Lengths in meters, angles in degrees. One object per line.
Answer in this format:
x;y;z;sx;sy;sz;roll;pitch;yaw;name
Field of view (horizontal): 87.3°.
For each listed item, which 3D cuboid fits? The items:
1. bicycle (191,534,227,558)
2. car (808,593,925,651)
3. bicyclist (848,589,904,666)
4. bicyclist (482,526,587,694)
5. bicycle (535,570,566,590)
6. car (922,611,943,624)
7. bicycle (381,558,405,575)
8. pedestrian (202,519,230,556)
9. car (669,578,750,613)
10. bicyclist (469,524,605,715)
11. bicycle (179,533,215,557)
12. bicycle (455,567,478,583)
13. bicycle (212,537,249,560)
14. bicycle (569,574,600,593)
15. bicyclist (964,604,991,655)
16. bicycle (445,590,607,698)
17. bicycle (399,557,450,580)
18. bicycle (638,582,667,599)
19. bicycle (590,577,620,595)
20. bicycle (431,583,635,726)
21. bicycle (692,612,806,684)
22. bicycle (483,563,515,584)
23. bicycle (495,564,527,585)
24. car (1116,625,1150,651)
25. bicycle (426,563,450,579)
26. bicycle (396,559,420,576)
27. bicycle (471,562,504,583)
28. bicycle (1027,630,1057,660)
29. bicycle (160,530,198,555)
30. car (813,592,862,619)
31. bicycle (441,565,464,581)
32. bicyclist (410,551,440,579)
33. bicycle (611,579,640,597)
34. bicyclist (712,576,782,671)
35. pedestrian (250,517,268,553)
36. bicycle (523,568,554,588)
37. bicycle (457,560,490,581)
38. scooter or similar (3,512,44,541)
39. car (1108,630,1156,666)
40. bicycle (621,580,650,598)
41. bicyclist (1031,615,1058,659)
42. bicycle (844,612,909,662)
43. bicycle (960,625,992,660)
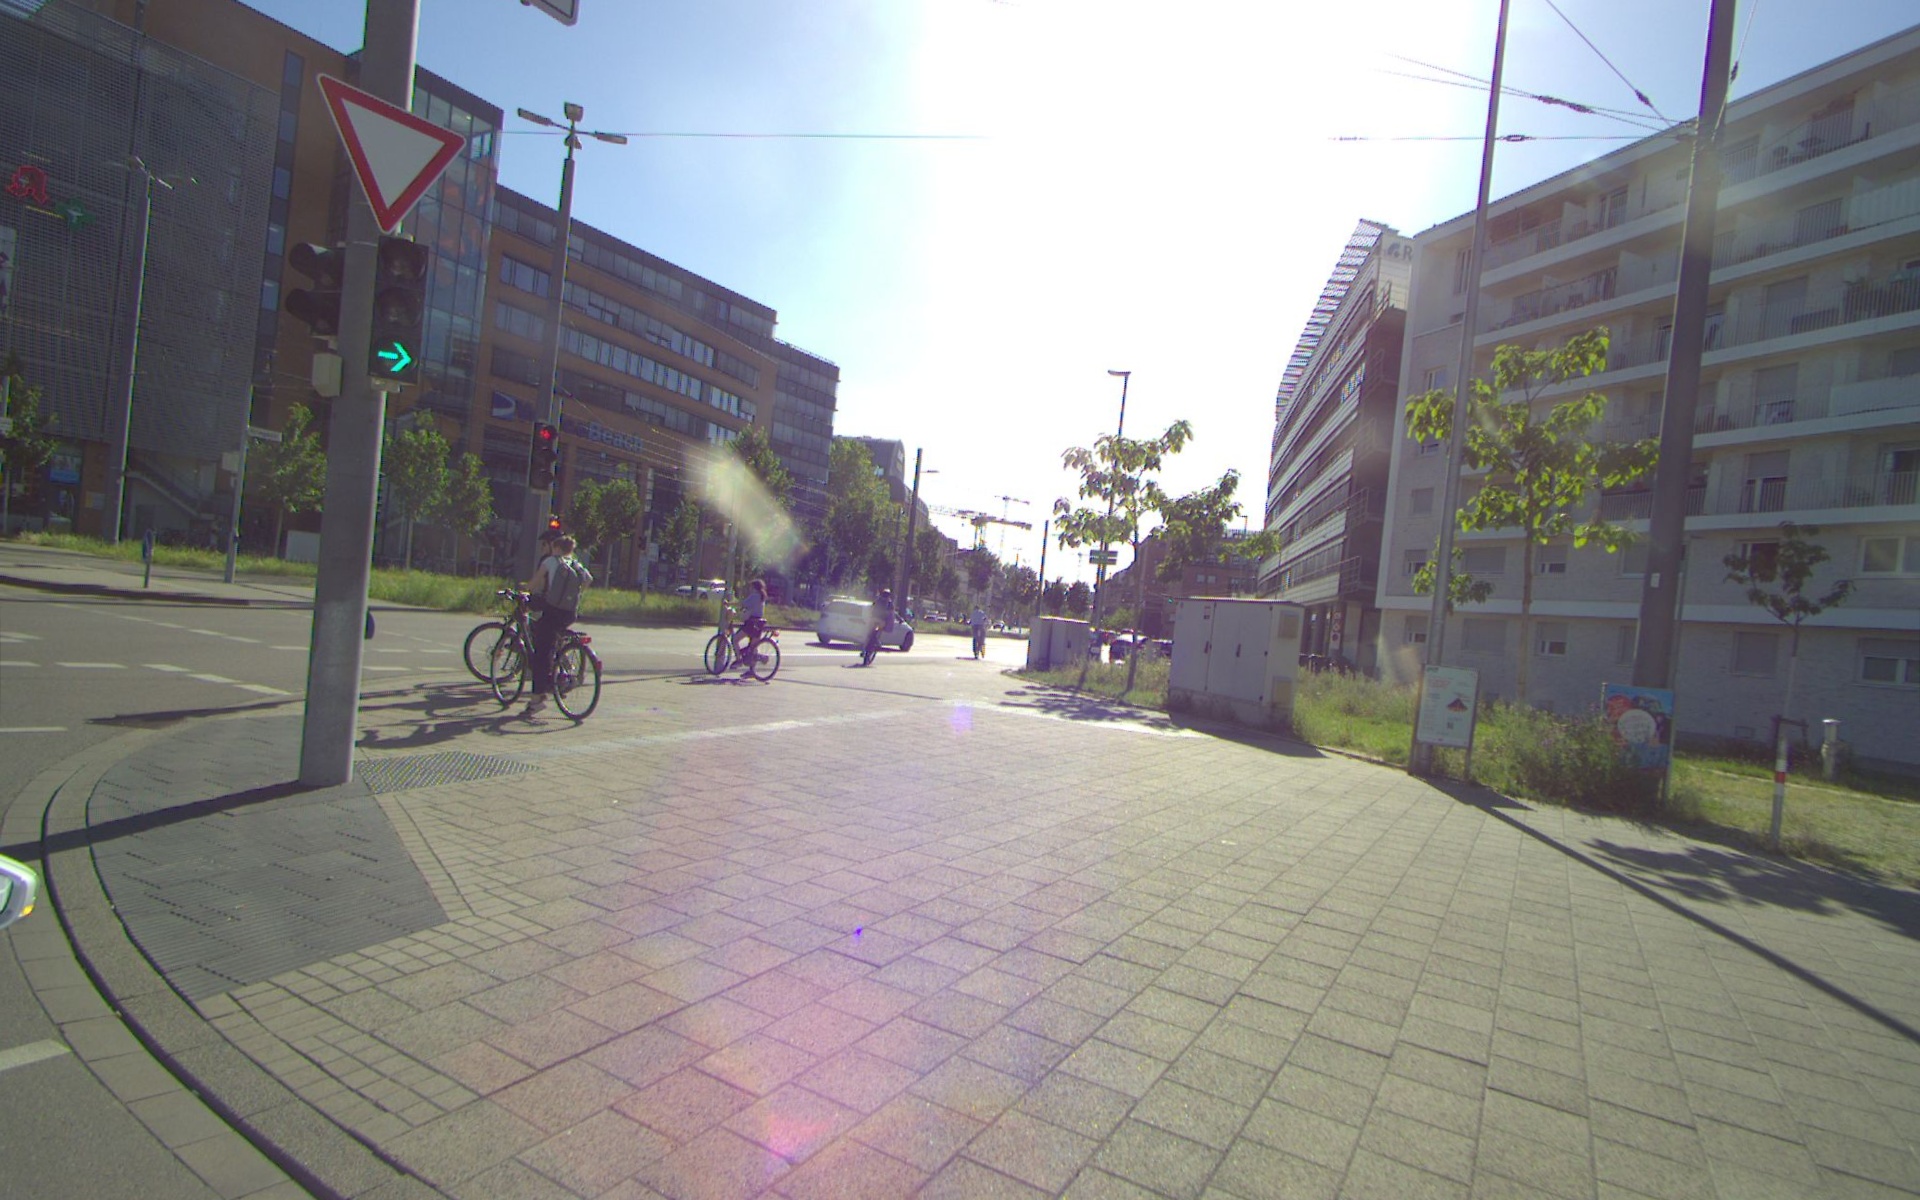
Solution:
-37.872;-2.709;50.706;2.142;0.966;0.492;7;1;26;bicycle
-2.832;0.741;31.649;1.746;1.420;4.293;9;0;22;car
-1.997;0.672;24.113;0.794;1.714;1.051;8;1;17;bicyclist
-4.885;0.112;11.556;0.890;1.821;0.549;5;1;26;bicyclist
-29.510;-1.462;72.498;2.142;1.137;0.752;7;0;26;bicycle
-3.483;2.239;129.107;1.962;1.350;4.793;6;-1;6;car
-33.543;-1.998;59.534;1.425;0.829;0.445;7;1;26;bicycle
-36.398;-3.063;49.215;0.586;1.706;0.778;6;0;18;pedestrian
-15.938;-0.269;64.299;1.782;1.672;5.543;6;-1;26;car
-4.002;0.172;9.508;0.987;1.675;0.594;6;1;31;bicyclist
-37.977;-2.750;50.058;2.142;0.966;0.492;7;1;26;bicycle
-31.254;-1.606;63.720;1.425;0.829;0.445;7;1;26;bicycle
-37.411;-2.647;51.584;2.142;0.966;0.492;7;1;26;bicycle
-27.992;-1.221;74.965;2.142;1.137;0.752;7;0;26;bicycle
0.617;1.014;34.808;0.608;1.690;1.020;8;1;7;bicyclist
-5.021;0.483;11.610;1.862;1.051;0.605;5;0;27;bicycle
-30.910;-1.801;58.107;0.588;1.023;2.563;6;-1;33;bicycle
-24.762;-0.772;81.010;2.142;1.137;0.752;7;0;26;bicycle
-26.920;-1.070;76.354;2.142;1.137;0.752;7;0;26;bicycle
-4.072;0.481;9.542;1.978;1.119;0.695;5;0;32;bicycle
-3.346;0.754;15.897;1.679;0.966;0.695;5;0;32;bicycle
-31.747;-1.816;69.314;2.142;1.137;0.752;7;0;26;bicycle
-31.295;-1.774;70.102;2.142;1.137;0.752;7;0;26;bicycle
13.486;2.995;78.229;1.754;1.723;4.138;8;0;19;car
-32.119;-1.767;61.897;1.425;0.829;0.445;7;1;26;bicycle
-33.097;-1.940;60.335;1.425;0.829;0.445;7;1;26;bicycle
-32.177;-1.893;68.472;2.142;1.137;0.752;7;0;26;bicycle
3.494;1.918;42.854;0.639;1.123;1.758;6;-2;24;bicycle
-38.257;-2.819;49.274;2.142;0.966;0.492;7;1;26;bicycle
-11.642;0.567;95.999;2.187;2.038;5.255;6;-1;22;car
-31.652;-1.695;62.788;1.425;0.829;0.445;7;1;26;bicycle
-30.886;-2.012;58.108;0.584;1.425;1.309;6;0;33;bicyclist
-26.154;-0.942;78.627;2.142;1.137;0.752;7;0;26;bicycle
-3.379;0.372;15.959;0.814;1.421;0.588;5;1;31;bicyclist
-38.807;-3.609;55.708;0.369;1.937;0.539;6;-1;39;pedestrian
-30.039;-1.565;71.642;2.142;1.137;0.752;7;0;26;bicycle
-32.701;-1.996;67.629;2.142;1.137;0.752;7;0;26;bicycle
-41.870;-3.286;44.976;0.272;1.115;1.203;6;-2;34;scooter or similar
8.623;2.396;50.153;1.694;1.543;4.401;7;-1;17;car
-25.636;-0.844;79.416;2.142;1.137;0.752;7;0;26;bicycle
3.613;1.585;43.053;0.639;1.774;1.044;6;1;25;bicyclist
-1.993;0.907;24.253;0.812;1.049;1.892;8;0;17;bicycle
0.578;1.461;34.995;0.676;1.082;2.698;8;0;7;bicycle
